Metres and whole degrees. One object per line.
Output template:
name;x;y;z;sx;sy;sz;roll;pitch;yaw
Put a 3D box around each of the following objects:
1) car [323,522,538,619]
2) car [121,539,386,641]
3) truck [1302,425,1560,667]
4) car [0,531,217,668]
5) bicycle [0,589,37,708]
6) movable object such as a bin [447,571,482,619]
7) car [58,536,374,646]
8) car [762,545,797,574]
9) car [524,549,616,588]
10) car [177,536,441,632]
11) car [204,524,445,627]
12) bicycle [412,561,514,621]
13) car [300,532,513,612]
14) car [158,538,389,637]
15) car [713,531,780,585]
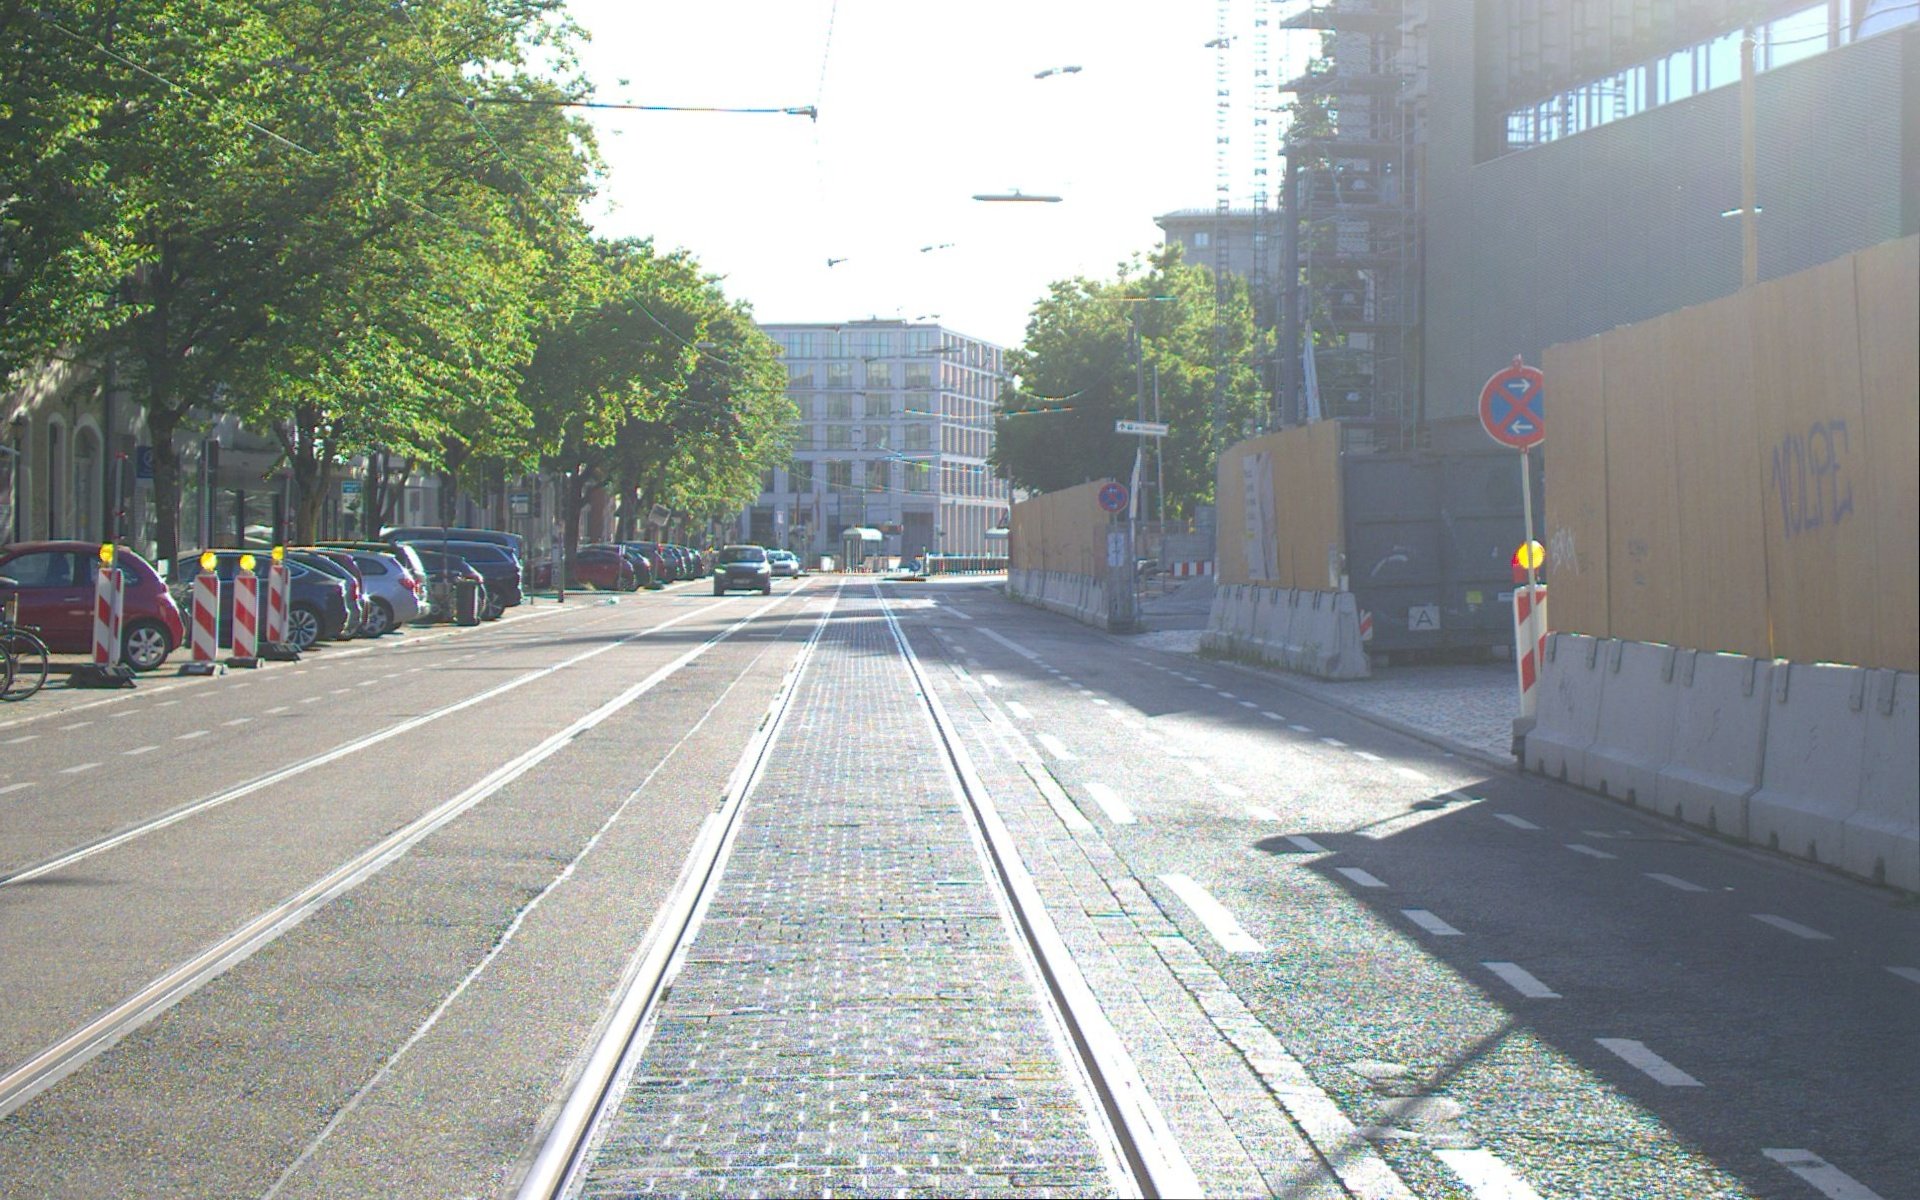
car;-11.810;-0.657;76.674;4.353;1.980;1.950;2;0;-23
car;-11.062;-0.148;53.855;3.672;1.465;1.753;2;0;-30
truck;6.130;-0.714;45.453;2.519;2.899;5.507;-3;1;0
car;-11.025;-0.025;41.604;3.612;1.548;1.669;1;2;-27
bicycle;-9.863;0.389;32.579;2.003;1.084;0.567;5;1;1
movable object such as a bin;-9.949;-0.099;69.029;0.575;0.910;0.575;2;1;-17
car;-11.087;-0.129;51.275;4.188;1.486;1.944;1;1;-28
car;-9.189;-2.080;175.023;1.709;1.431;4.171;0;1;-2
car;-13.504;-1.100;119.052;2.933;1.327;1.215;-1;1;-29
car;-11.282;-0.273;59.622;4.103;1.507;1.841;1;1;-28
car;-11.623;-0.457;63.076;4.103;1.672;1.841;3;1;-4
bicycle;-10.096;-0.178;69.828;1.965;1.140;0.493;2;0;-19
car;-11.939;-0.619;74.145;4.234;1.679;1.811;-1;1;-22
car;-11.322;-0.201;56.721;3.362;1.488;1.613;2;1;-29
car;-7.114;-1.423;114.785;1.927;1.624;4.249;-3;2;-1
